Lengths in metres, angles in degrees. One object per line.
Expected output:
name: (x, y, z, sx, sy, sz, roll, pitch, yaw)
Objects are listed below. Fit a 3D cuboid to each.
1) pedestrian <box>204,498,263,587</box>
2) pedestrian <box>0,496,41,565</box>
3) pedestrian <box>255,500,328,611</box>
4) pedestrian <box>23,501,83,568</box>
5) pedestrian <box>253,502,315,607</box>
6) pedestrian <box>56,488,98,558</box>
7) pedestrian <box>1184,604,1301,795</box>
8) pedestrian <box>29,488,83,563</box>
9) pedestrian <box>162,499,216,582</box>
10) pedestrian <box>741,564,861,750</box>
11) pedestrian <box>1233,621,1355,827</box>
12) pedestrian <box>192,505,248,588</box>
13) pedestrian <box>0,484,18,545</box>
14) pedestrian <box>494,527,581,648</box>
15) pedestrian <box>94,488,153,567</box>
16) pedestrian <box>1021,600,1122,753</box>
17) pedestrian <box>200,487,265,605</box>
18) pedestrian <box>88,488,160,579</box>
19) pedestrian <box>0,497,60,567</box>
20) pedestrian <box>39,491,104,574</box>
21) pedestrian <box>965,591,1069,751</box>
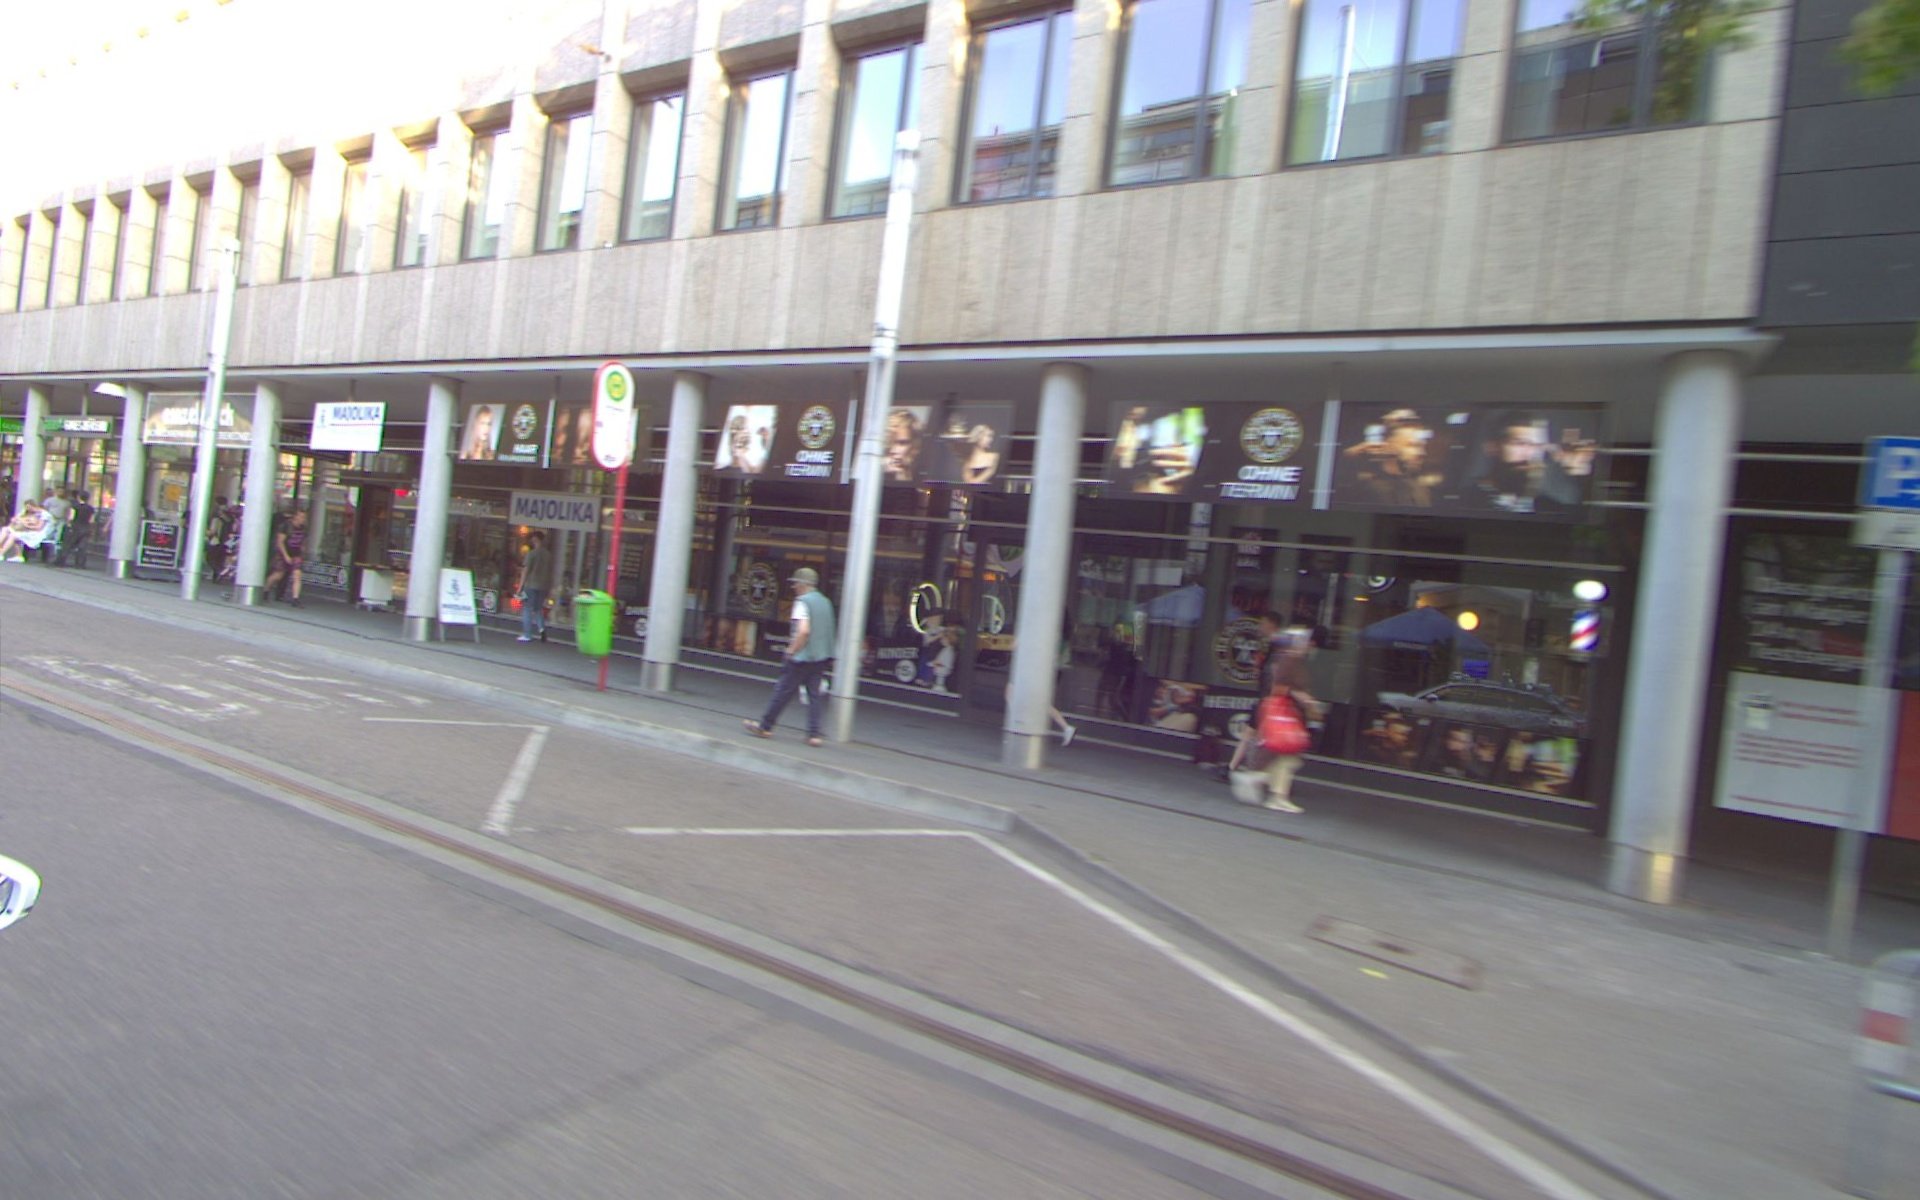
pedestrian: (-16.562, -1.300, 22.938, 0.760, 1.906, 0.688, 7, 1, 29)
pedestrian: (-19.823, -1.463, 20.990, 0.523, 1.330, 0.719, 7, -1, 32)
pedestrian: (-12.208, -0.800, 18.385, 0.783, 1.913, 0.707, 7, 1, 31)
pedestrian: (-19.550, -1.404, 21.687, 0.523, 1.330, 0.719, 7, -1, 32)
pedestrian: (-12.960, -0.876, 19.294, 0.672, 1.913, 0.616, 7, 1, 32)
pedestrian: (-23.448, -2.034, 26.713, 0.607, 1.753, 0.571, 7, 1, 29)
pedestrian: (2.903, 0.994, 10.329, 0.849, 1.794, 0.674, 6, 1, 29)
pedestrian: (-21.506, -1.769, 23.938, 0.710, 1.682, 0.688, 7, 1, 32)
pedestrian: (-17.340, -1.336, 22.619, 0.760, 1.775, 0.583, 7, 1, 29)
pedestrian: (-1.460, 0.529, 9.317, 0.627, 1.606, 0.670, 7, -2, 30)
pedestrian: (2.971, 1.067, 8.922, 0.728, 1.665, 0.748, 6, 1, 30)
pedestrian: (-15.907, -1.140, 21.624, 0.669, 1.682, 0.648, 7, 1, 32)
pedestrian: (-28.097, -2.519, 29.392, 0.607, 1.753, 0.571, 7, 1, 29)
pedestrian: (-7.176, -0.204, 17.105, 0.884, 1.913, 0.845, 7, 1, 31)
pedestrian: (-20.310, -1.754, 24.429, 0.761, 1.794, 0.774, 6, 1, 29)
pedestrian: (1.323, 0.888, 11.913, 0.805, 1.665, 0.711, 6, 1, 29)
pedestrian: (-12.818, -0.945, 17.735, 0.644, 1.968, 0.578, 7, 1, 30)
pedestrian: (-18.070, -1.437, 21.737, 0.844, 1.820, 0.845, 7, 1, 31)
pedestrian: (-19.290, -1.399, 20.840, 0.516, 1.330, 0.719, 7, -1, 32)
pedestrian: (-18.257, -1.387, 20.678, 0.724, 1.590, 0.725, 7, 1, 32)
pedestrian: (0.642, 0.781, 11.262, 0.775, 1.665, 0.681, 6, 1, 29)
